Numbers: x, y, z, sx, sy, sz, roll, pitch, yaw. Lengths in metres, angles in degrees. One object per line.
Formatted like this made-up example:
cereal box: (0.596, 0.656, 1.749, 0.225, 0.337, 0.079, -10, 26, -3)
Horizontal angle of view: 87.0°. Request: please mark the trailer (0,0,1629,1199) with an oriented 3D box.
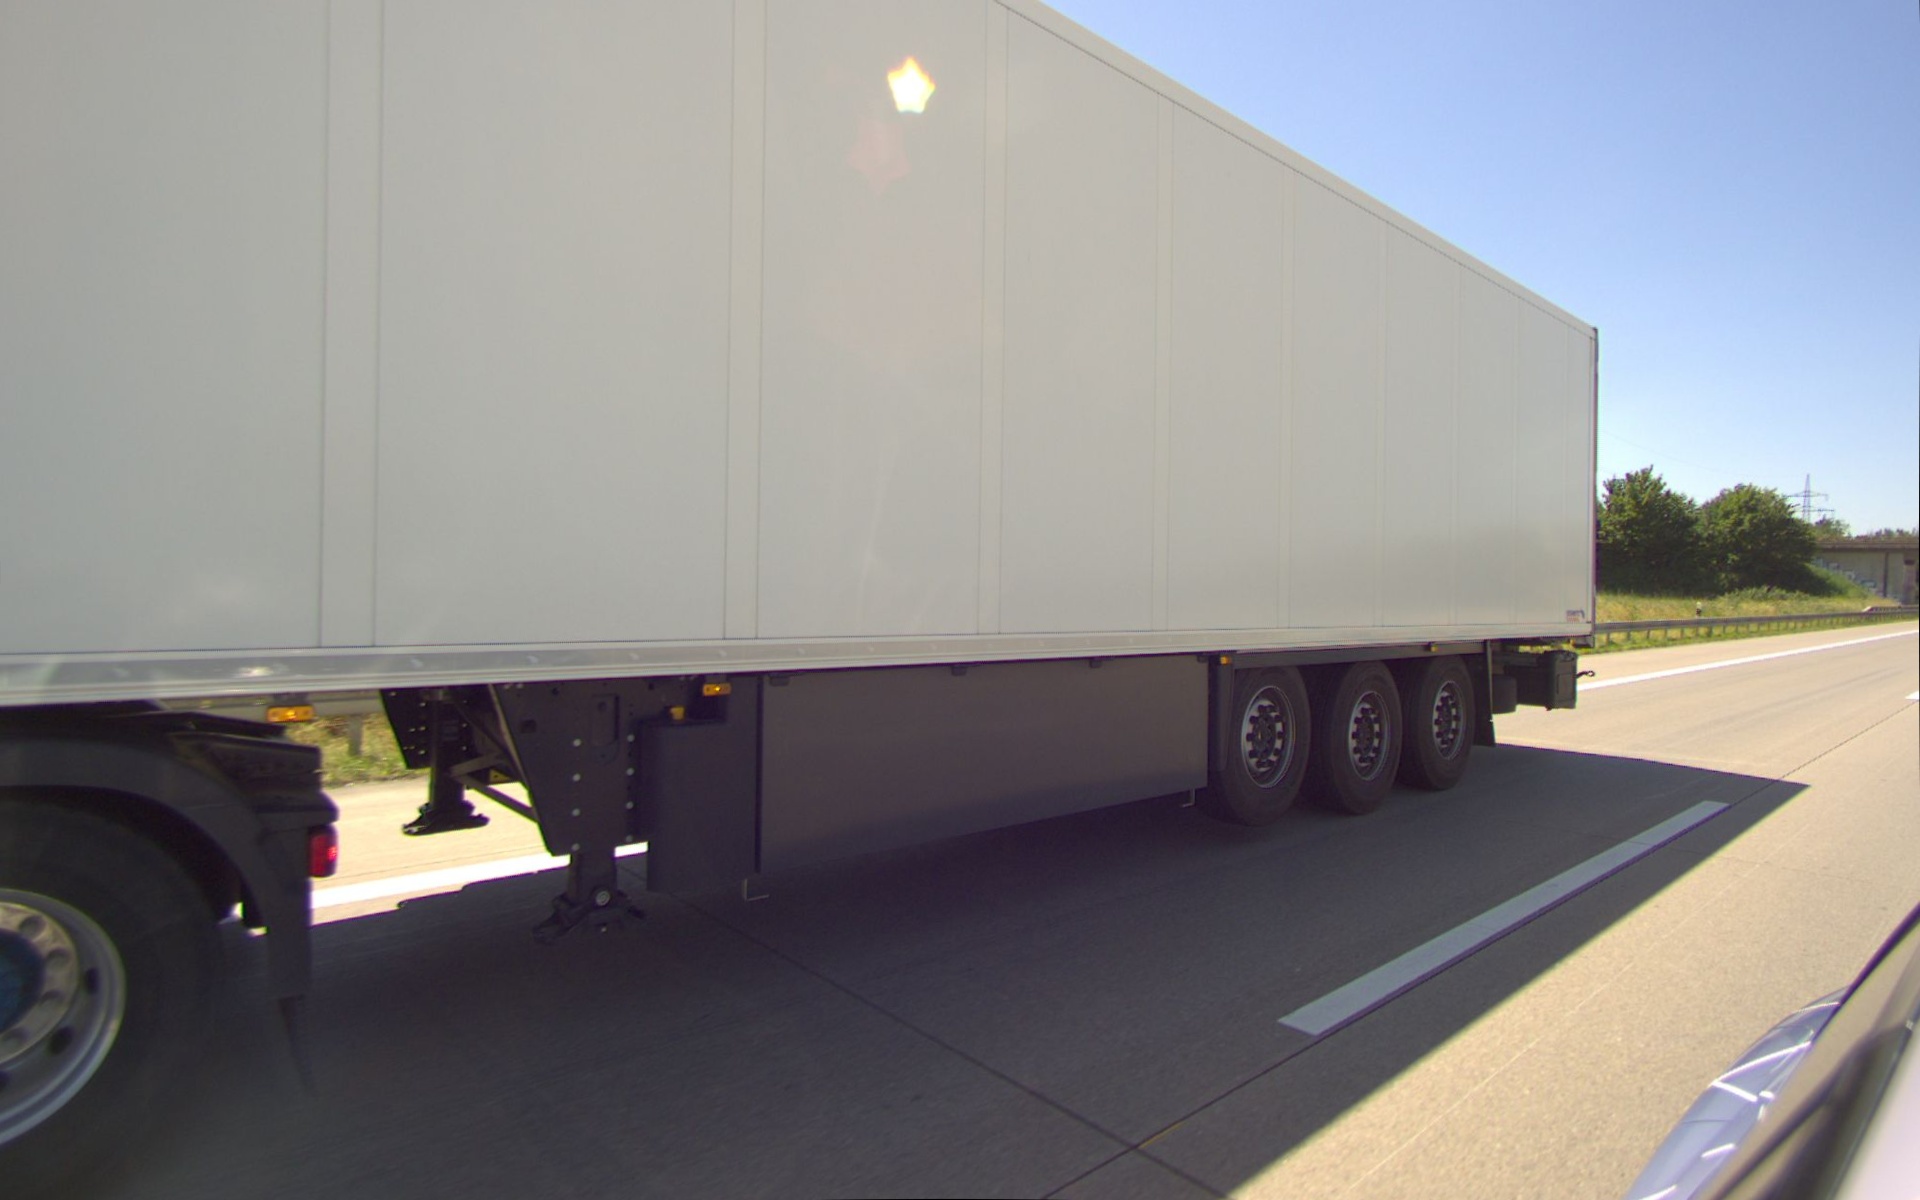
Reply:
trailer: (0.612, -0.739, 6.346, 12.677, 4.094, 2.713, 0, 0, -41)
